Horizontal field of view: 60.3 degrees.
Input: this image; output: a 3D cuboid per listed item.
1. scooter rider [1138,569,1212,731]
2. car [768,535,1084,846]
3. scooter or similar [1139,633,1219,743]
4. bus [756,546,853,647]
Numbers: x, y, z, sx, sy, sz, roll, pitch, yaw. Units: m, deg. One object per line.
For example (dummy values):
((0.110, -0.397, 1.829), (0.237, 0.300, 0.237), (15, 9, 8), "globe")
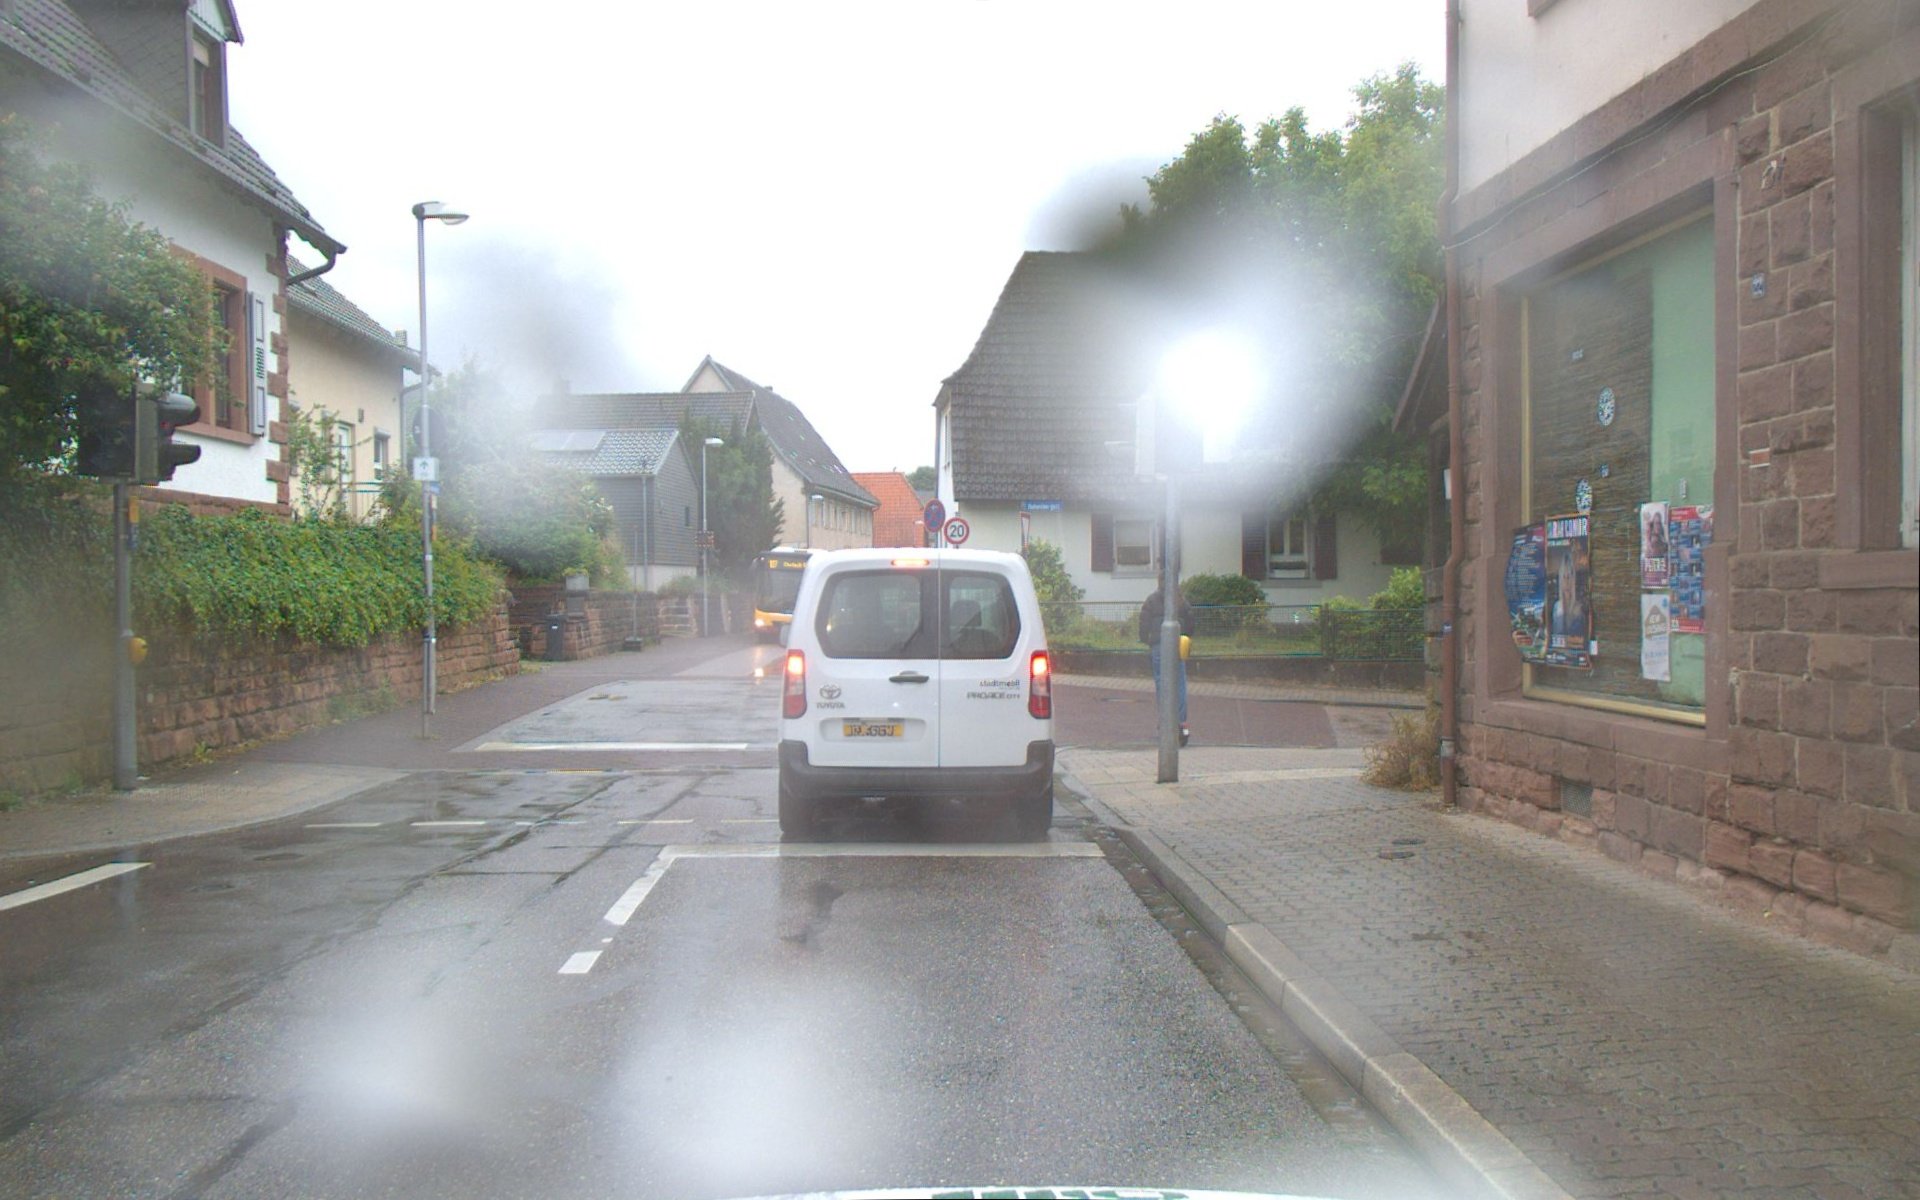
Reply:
((2.364, 0.544, 18.224), (0.716, 1.763, 0.518), (0, -1, -3), "scooter rider")
((-0.289, 0.530, 11.736), (1.856, 1.825, 3.811), (1, 0, -3), "car")
((2.376, 0.937, 18.090), (0.608, 1.147, 1.401), (0, -1, -4), "scooter or similar")
((-5.099, -0.279, 56.182), (2.596, 3.051, 12.189), (0, 2, -2), "bus")
